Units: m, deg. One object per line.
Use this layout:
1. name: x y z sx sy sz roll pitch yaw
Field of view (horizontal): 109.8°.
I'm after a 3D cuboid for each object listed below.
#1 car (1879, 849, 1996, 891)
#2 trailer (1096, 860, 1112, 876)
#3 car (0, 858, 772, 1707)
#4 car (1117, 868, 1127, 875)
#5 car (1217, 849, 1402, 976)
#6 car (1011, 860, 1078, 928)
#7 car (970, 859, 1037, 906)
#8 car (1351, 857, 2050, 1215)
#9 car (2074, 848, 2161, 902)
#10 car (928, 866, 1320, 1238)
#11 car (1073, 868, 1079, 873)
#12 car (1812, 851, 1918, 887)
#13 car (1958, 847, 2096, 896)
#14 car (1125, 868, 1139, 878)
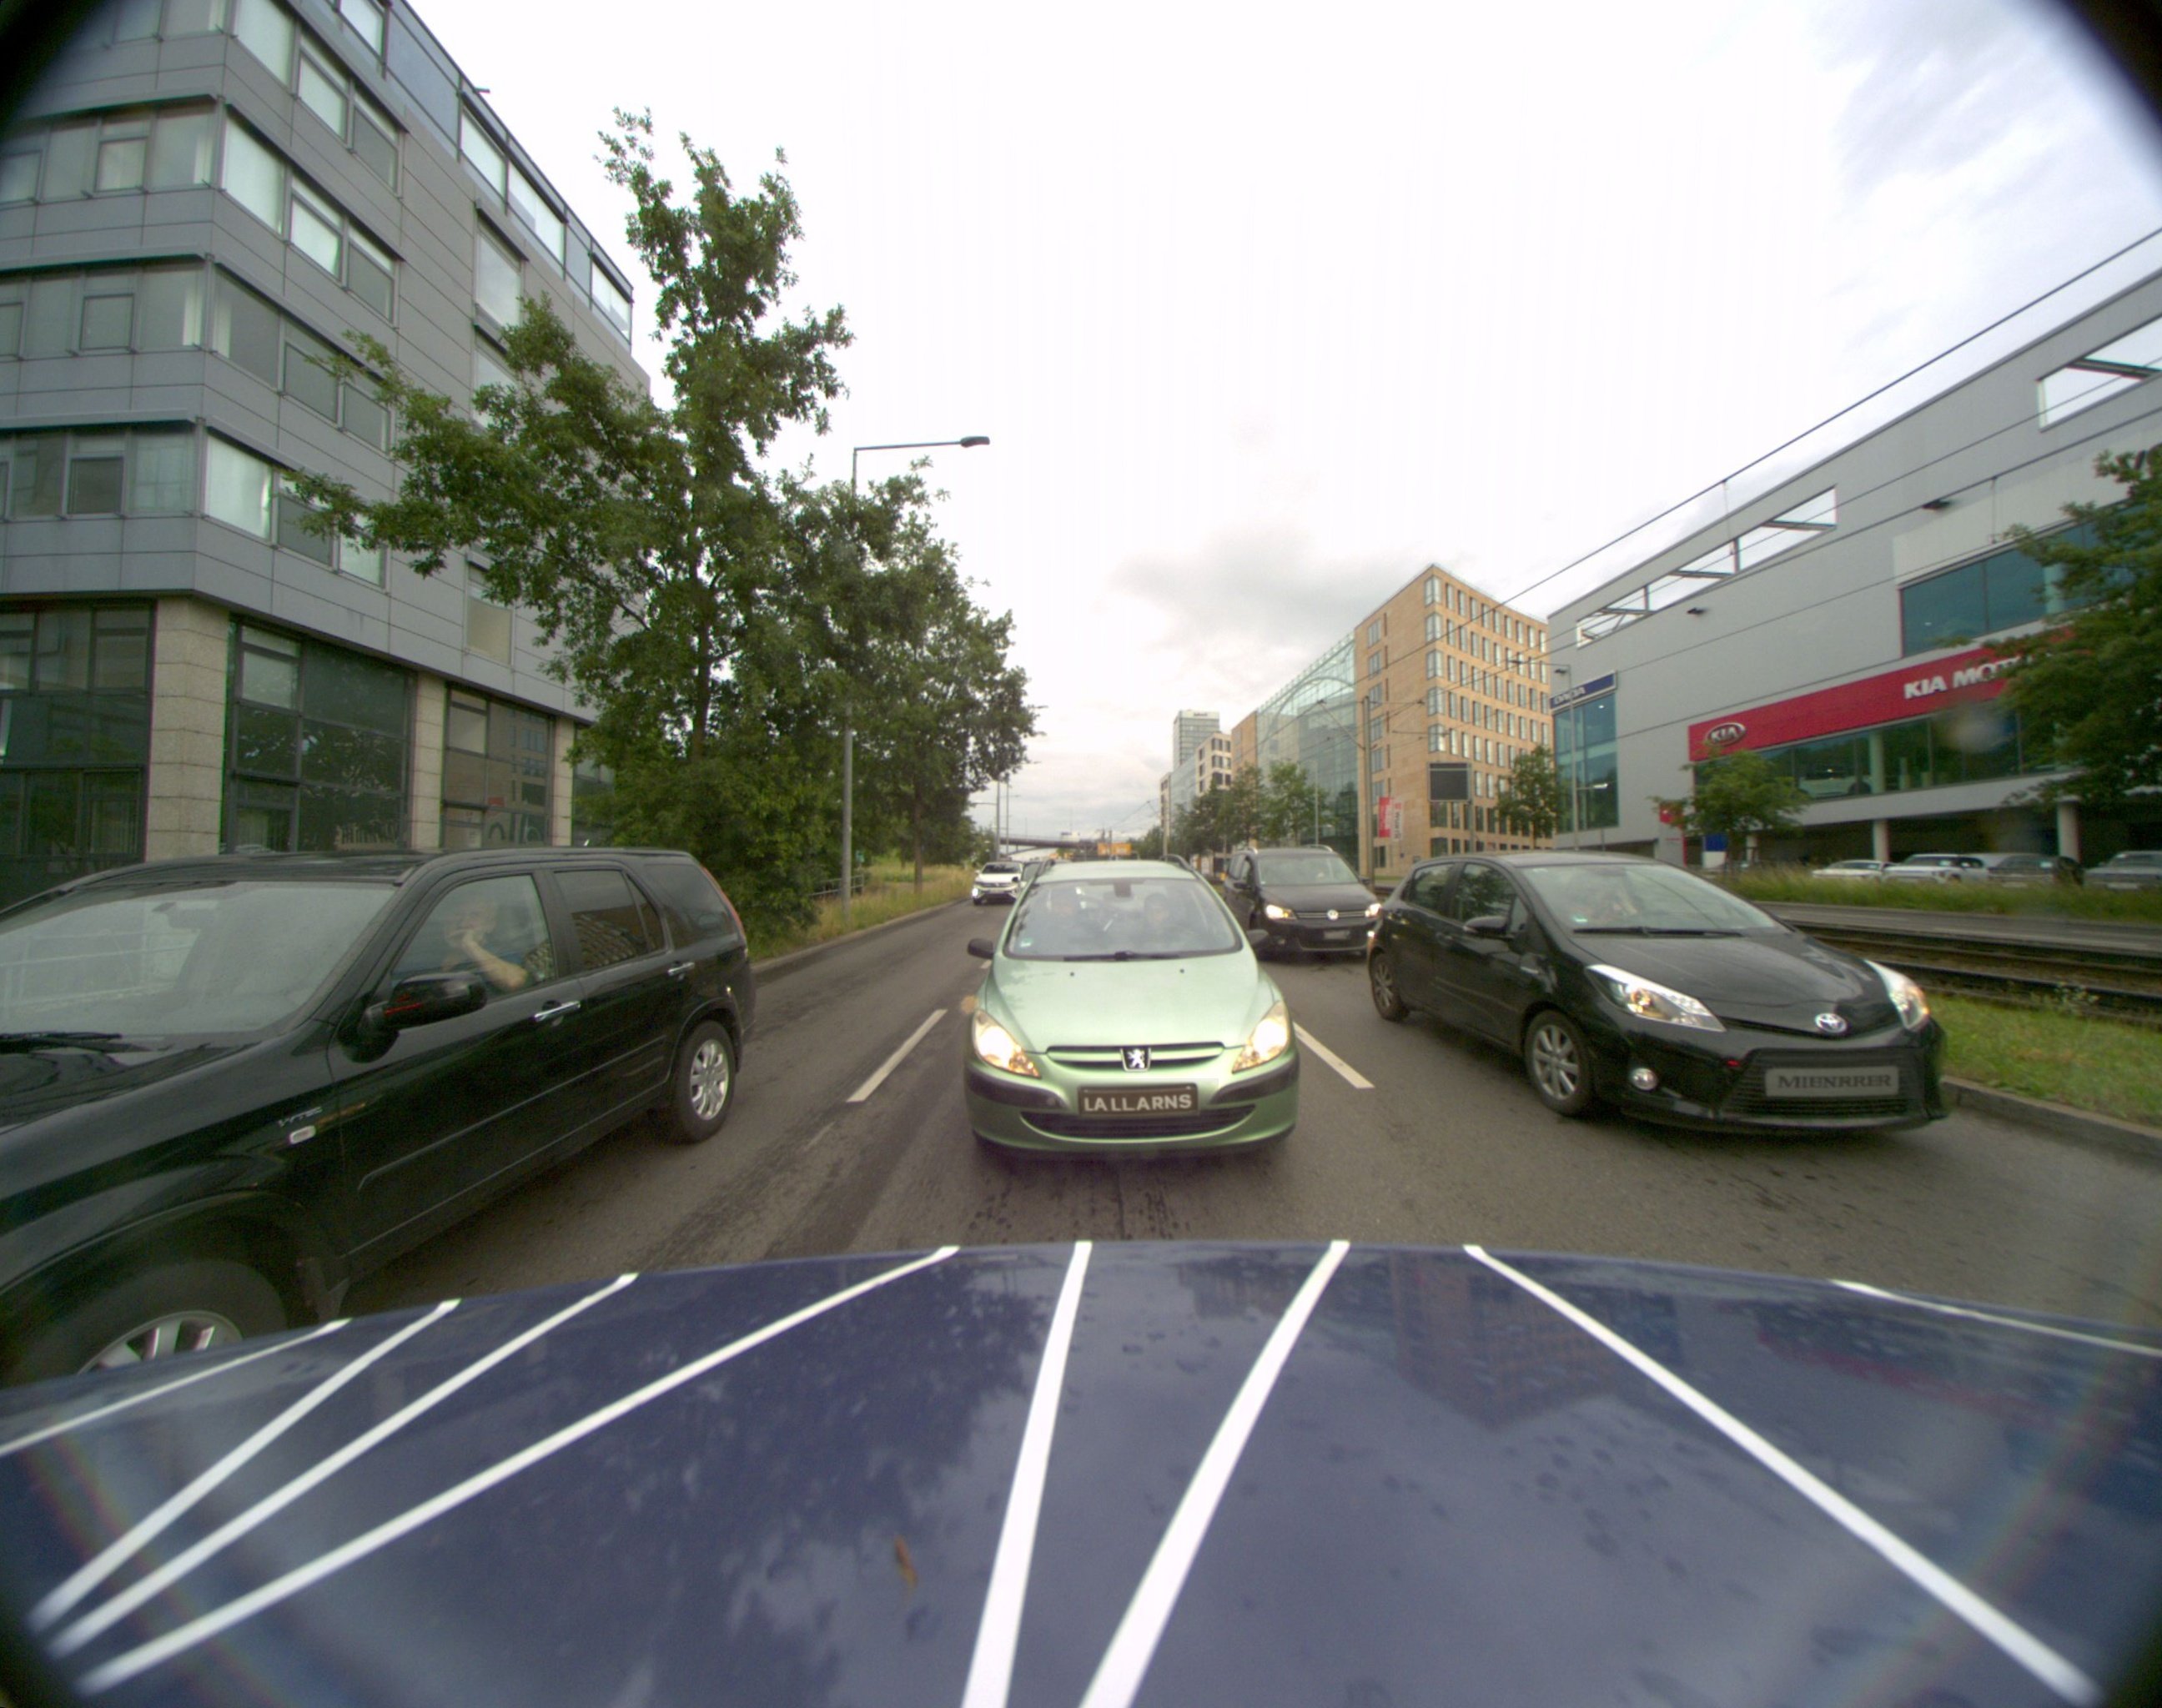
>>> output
1. car: 31.762 0.561 28.176 3.668 1.287 1.696 -4 1 -22
2. trailer: 6.380 3.863 211.411 3.143 4.304 13.277 2 0 -3
3. car: -2.955 0.876 2.816 1.759 1.649 4.338 -1 0 1
4. car: 9.214 3.973 171.052 1.589 1.504 4.100 1 0 -5
5. car: 3.309 0.750 11.881 1.786 1.597 4.318 -1 0 3
6. car: -0.951 0.944 19.276 1.518 1.495 3.167 -1 0 -4
7. car: -2.696 0.979 27.276 1.827 1.495 3.767 -1 0 2
8. car: 3.429 0.813 5.274 1.704 1.523 3.826 -1 0 -1
9. car: 32.037 0.588 22.826 3.528 1.344 1.696 -4 1 -20
10. car: 0.175 0.912 5.546 1.704 1.523 4.370 -1 0 -1
11. car: -1.760 5.558 253.515 1.655 1.428 3.876 -2 2 -6
12. car: 31.739 0.577 30.781 3.668 1.181 1.696 -4 1 -22
13. car: 31.601 0.569 25.395 3.528 1.344 1.696 -4 1 -17
14. car: 9.105 3.353 136.115 1.999 1.709 4.839 1 0 -2
